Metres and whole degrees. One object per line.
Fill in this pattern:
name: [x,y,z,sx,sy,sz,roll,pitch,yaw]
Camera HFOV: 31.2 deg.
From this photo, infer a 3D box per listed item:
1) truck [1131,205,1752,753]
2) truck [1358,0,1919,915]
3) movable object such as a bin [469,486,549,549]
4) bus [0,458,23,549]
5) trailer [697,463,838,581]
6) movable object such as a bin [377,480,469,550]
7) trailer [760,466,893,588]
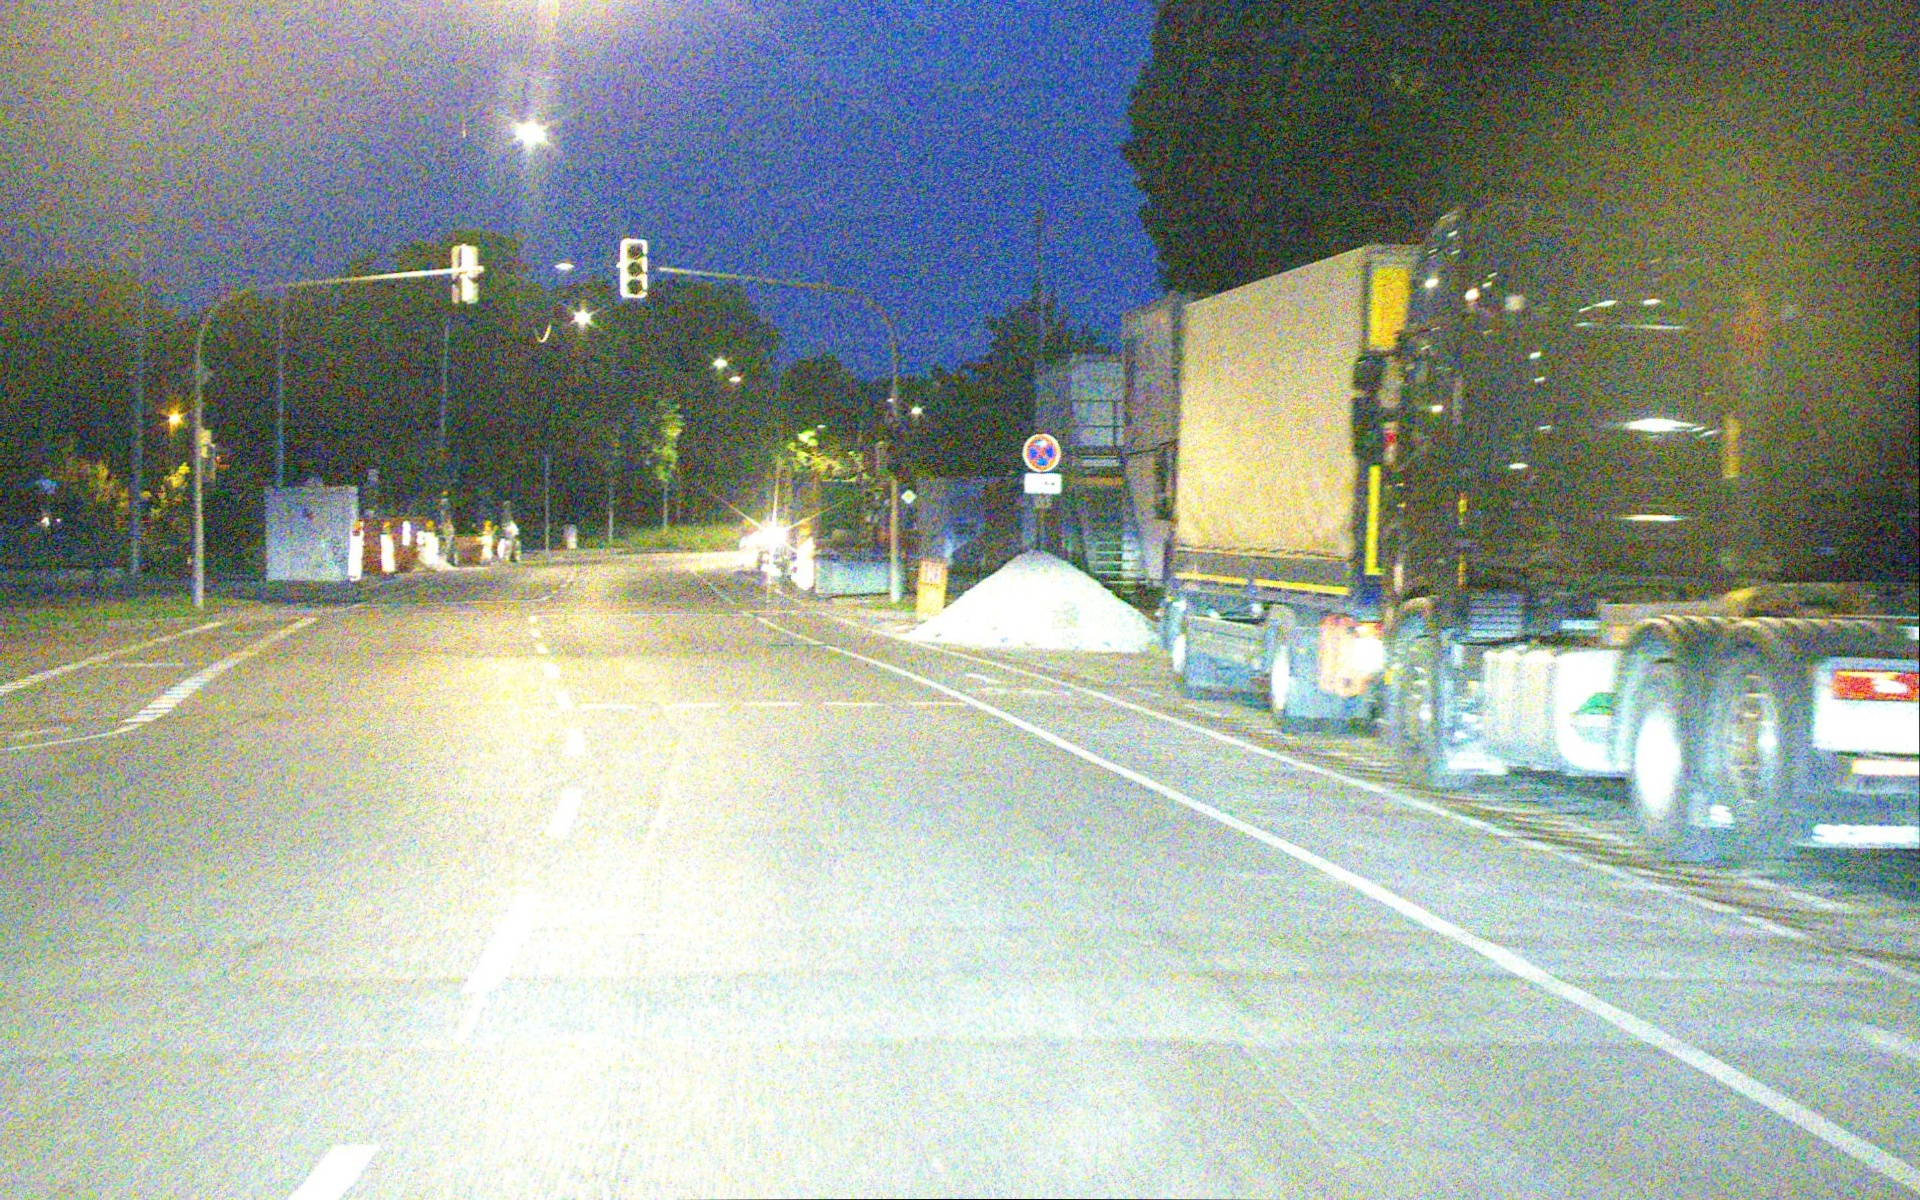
truck: [3.600,-0.934,28.903,2.754,3.770,10.228,0,1,-6]
truck: [4.507,-0.684,18.808,2.754,3.770,9.139,0,1,-6]
movable object such as a bin: [-17.433,-3.185,133.046,1.994,2.368,4.701,0,1,6]
bus: [-35.975,-3.240,115.959,3.014,3.193,12.667,0,2,12]
trailer: [-5.567,-2.220,98.598,3.480,3.208,4.866,1,1,-9]
movable object such as a bin: [-18.765,-2.992,120.287,1.994,2.368,4.701,0,2,6]
trailer: [-3.298,-1.758,83.923,2.613,2.836,4.710,1,1,-9]
